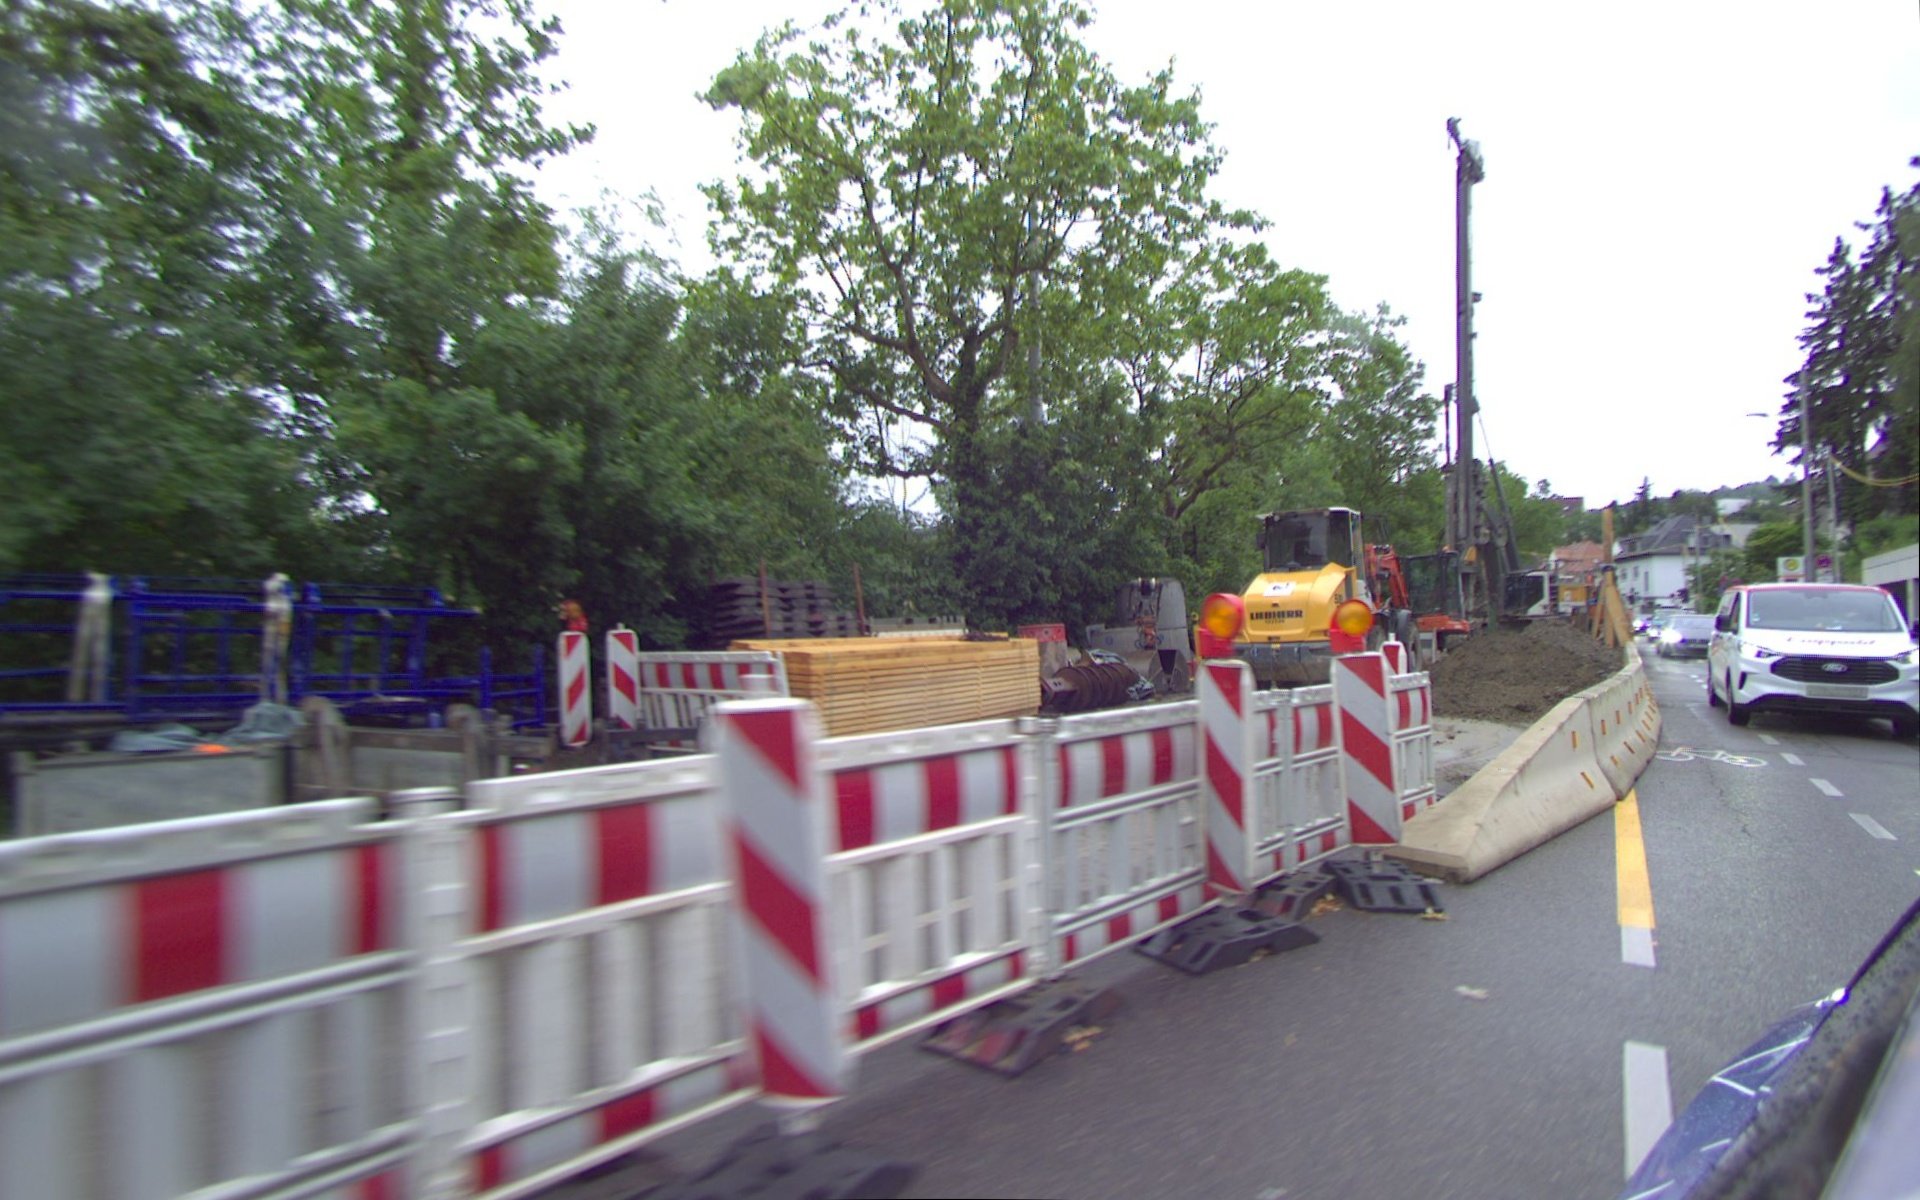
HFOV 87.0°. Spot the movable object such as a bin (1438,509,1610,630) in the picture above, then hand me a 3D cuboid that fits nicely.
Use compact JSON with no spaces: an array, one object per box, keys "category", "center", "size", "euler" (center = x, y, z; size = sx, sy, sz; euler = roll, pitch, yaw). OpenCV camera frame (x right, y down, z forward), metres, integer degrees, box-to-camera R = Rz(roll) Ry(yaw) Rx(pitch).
[{"category":"movable object such as a bin","center":[25.960,-1.338,46.547],"size":[7.017,5.130,3.699],"euler":[0,0,-28]}]

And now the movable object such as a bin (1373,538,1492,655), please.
[{"category":"movable object such as a bin","center":[11.561,-0.065,24.683],"size":[2.088,2.634,3.138],"euler":[-2,-1,34]}]

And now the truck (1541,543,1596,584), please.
[{"category":"truck","center":[34.146,-2.011,56.776],"size":[2.541,2.134,3.265],"euler":[0,0,33]}]

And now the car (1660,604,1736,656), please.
[{"category":"car","center":[24.262,0.973,33.340],"size":[1.879,1.594,3.948],"euler":[-2,-2,36]}]

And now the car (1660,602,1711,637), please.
[{"category":"car","center":[34.767,0.958,48.515],"size":[1.879,1.594,3.948],"euler":[-2,-2,36]}]

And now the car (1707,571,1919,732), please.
[{"category":"car","center":[12.291,0.616,14.626],"size":[2.032,1.918,5.147],"euler":[-2,-1,33]}]

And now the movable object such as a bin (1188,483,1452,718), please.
[{"category":"movable object such as a bin","center":[6.011,0.019,16.378],"size":[2.486,3.115,5.516],"euler":[-3,-1,36]}]

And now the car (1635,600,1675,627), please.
[{"category":"car","center":[43.309,0.874,63.035],"size":[1.879,1.594,3.948],"euler":[-2,-2,36]}]

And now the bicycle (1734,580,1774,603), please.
[{"category":"bicycle","center":[42.363,-0.446,54.010],"size":[0.435,1.145,1.620],"euler":[-1,-1,-42]}]
